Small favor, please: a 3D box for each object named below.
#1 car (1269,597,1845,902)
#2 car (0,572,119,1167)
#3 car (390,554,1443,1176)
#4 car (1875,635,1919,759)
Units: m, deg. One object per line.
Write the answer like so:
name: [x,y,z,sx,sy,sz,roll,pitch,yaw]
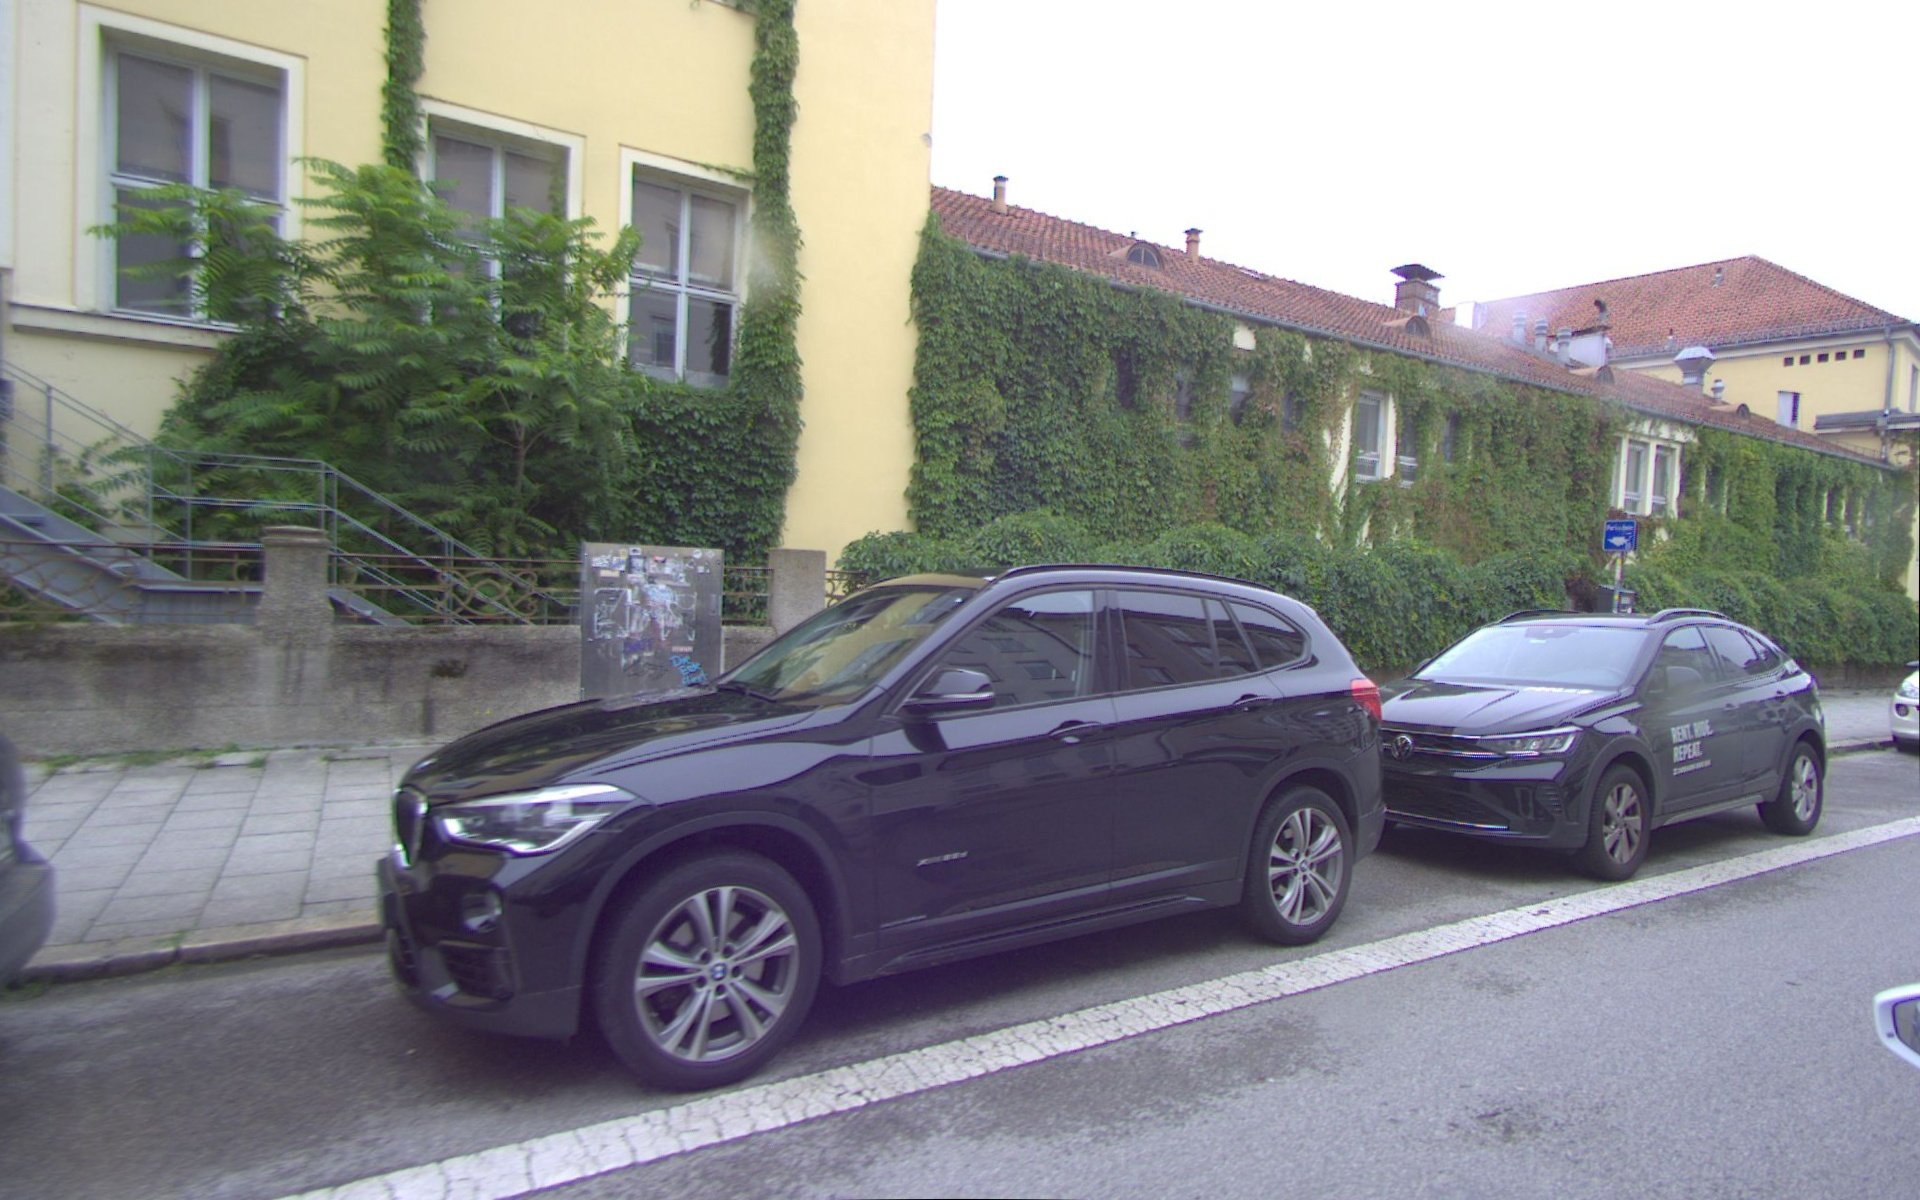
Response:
car: [4.172,0.812,6.823,4.175,1.500,1.707,2,-3,-33]
car: [-4.470,0.618,1.605,4.551,1.427,1.763,1,-2,-33]
car: [-0.001,0.704,4.332,4.225,1.522,1.760,2,-1,-31]
car: [12.866,1.166,12.246,3.519,1.428,1.658,1,-1,-32]
